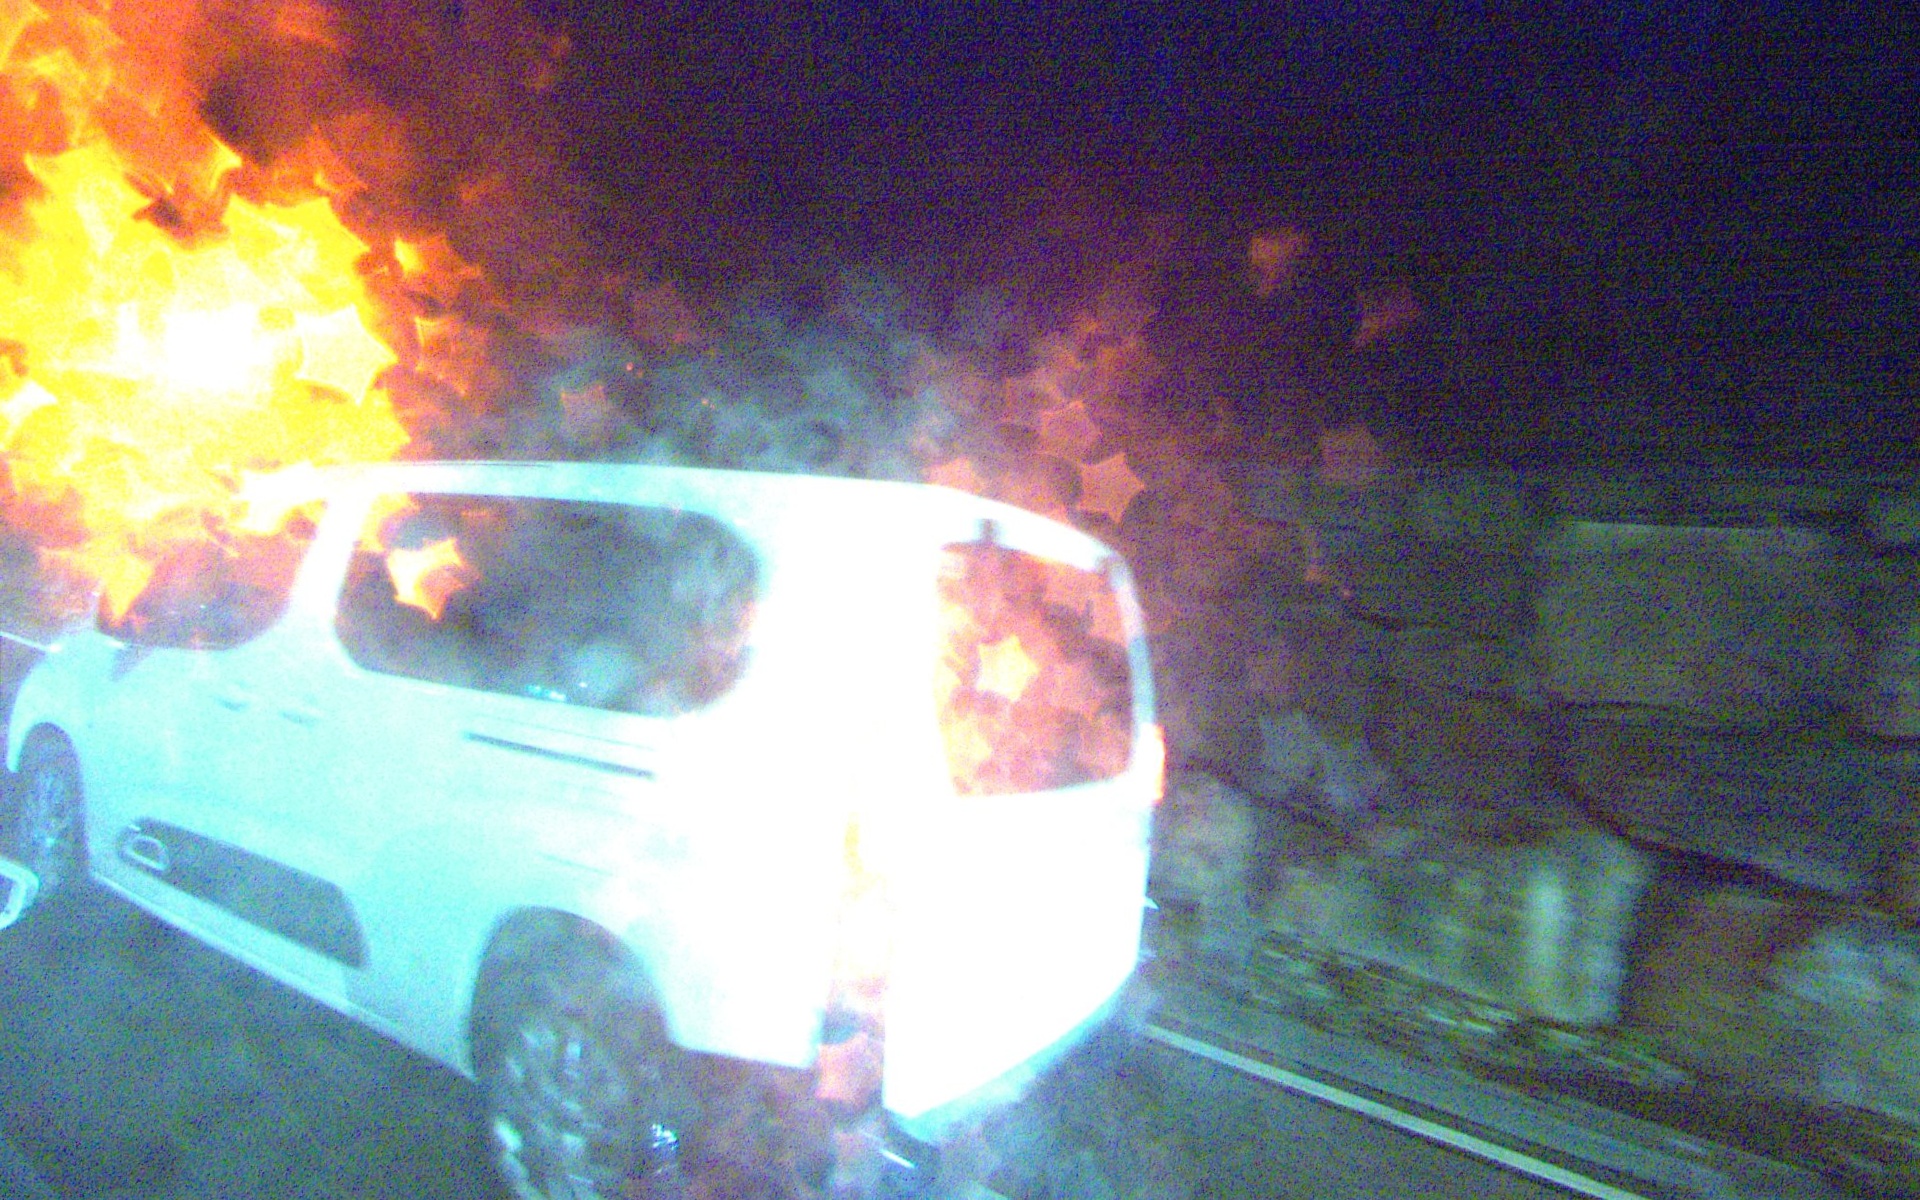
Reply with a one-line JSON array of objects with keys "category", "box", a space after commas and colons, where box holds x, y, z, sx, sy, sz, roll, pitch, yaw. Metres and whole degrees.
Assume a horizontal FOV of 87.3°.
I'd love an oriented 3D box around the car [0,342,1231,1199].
[{"category": "car", "box": [-1.609, 0.425, 3.623, 4.501, 2.045, 1.795, 7, -1, 30]}]
